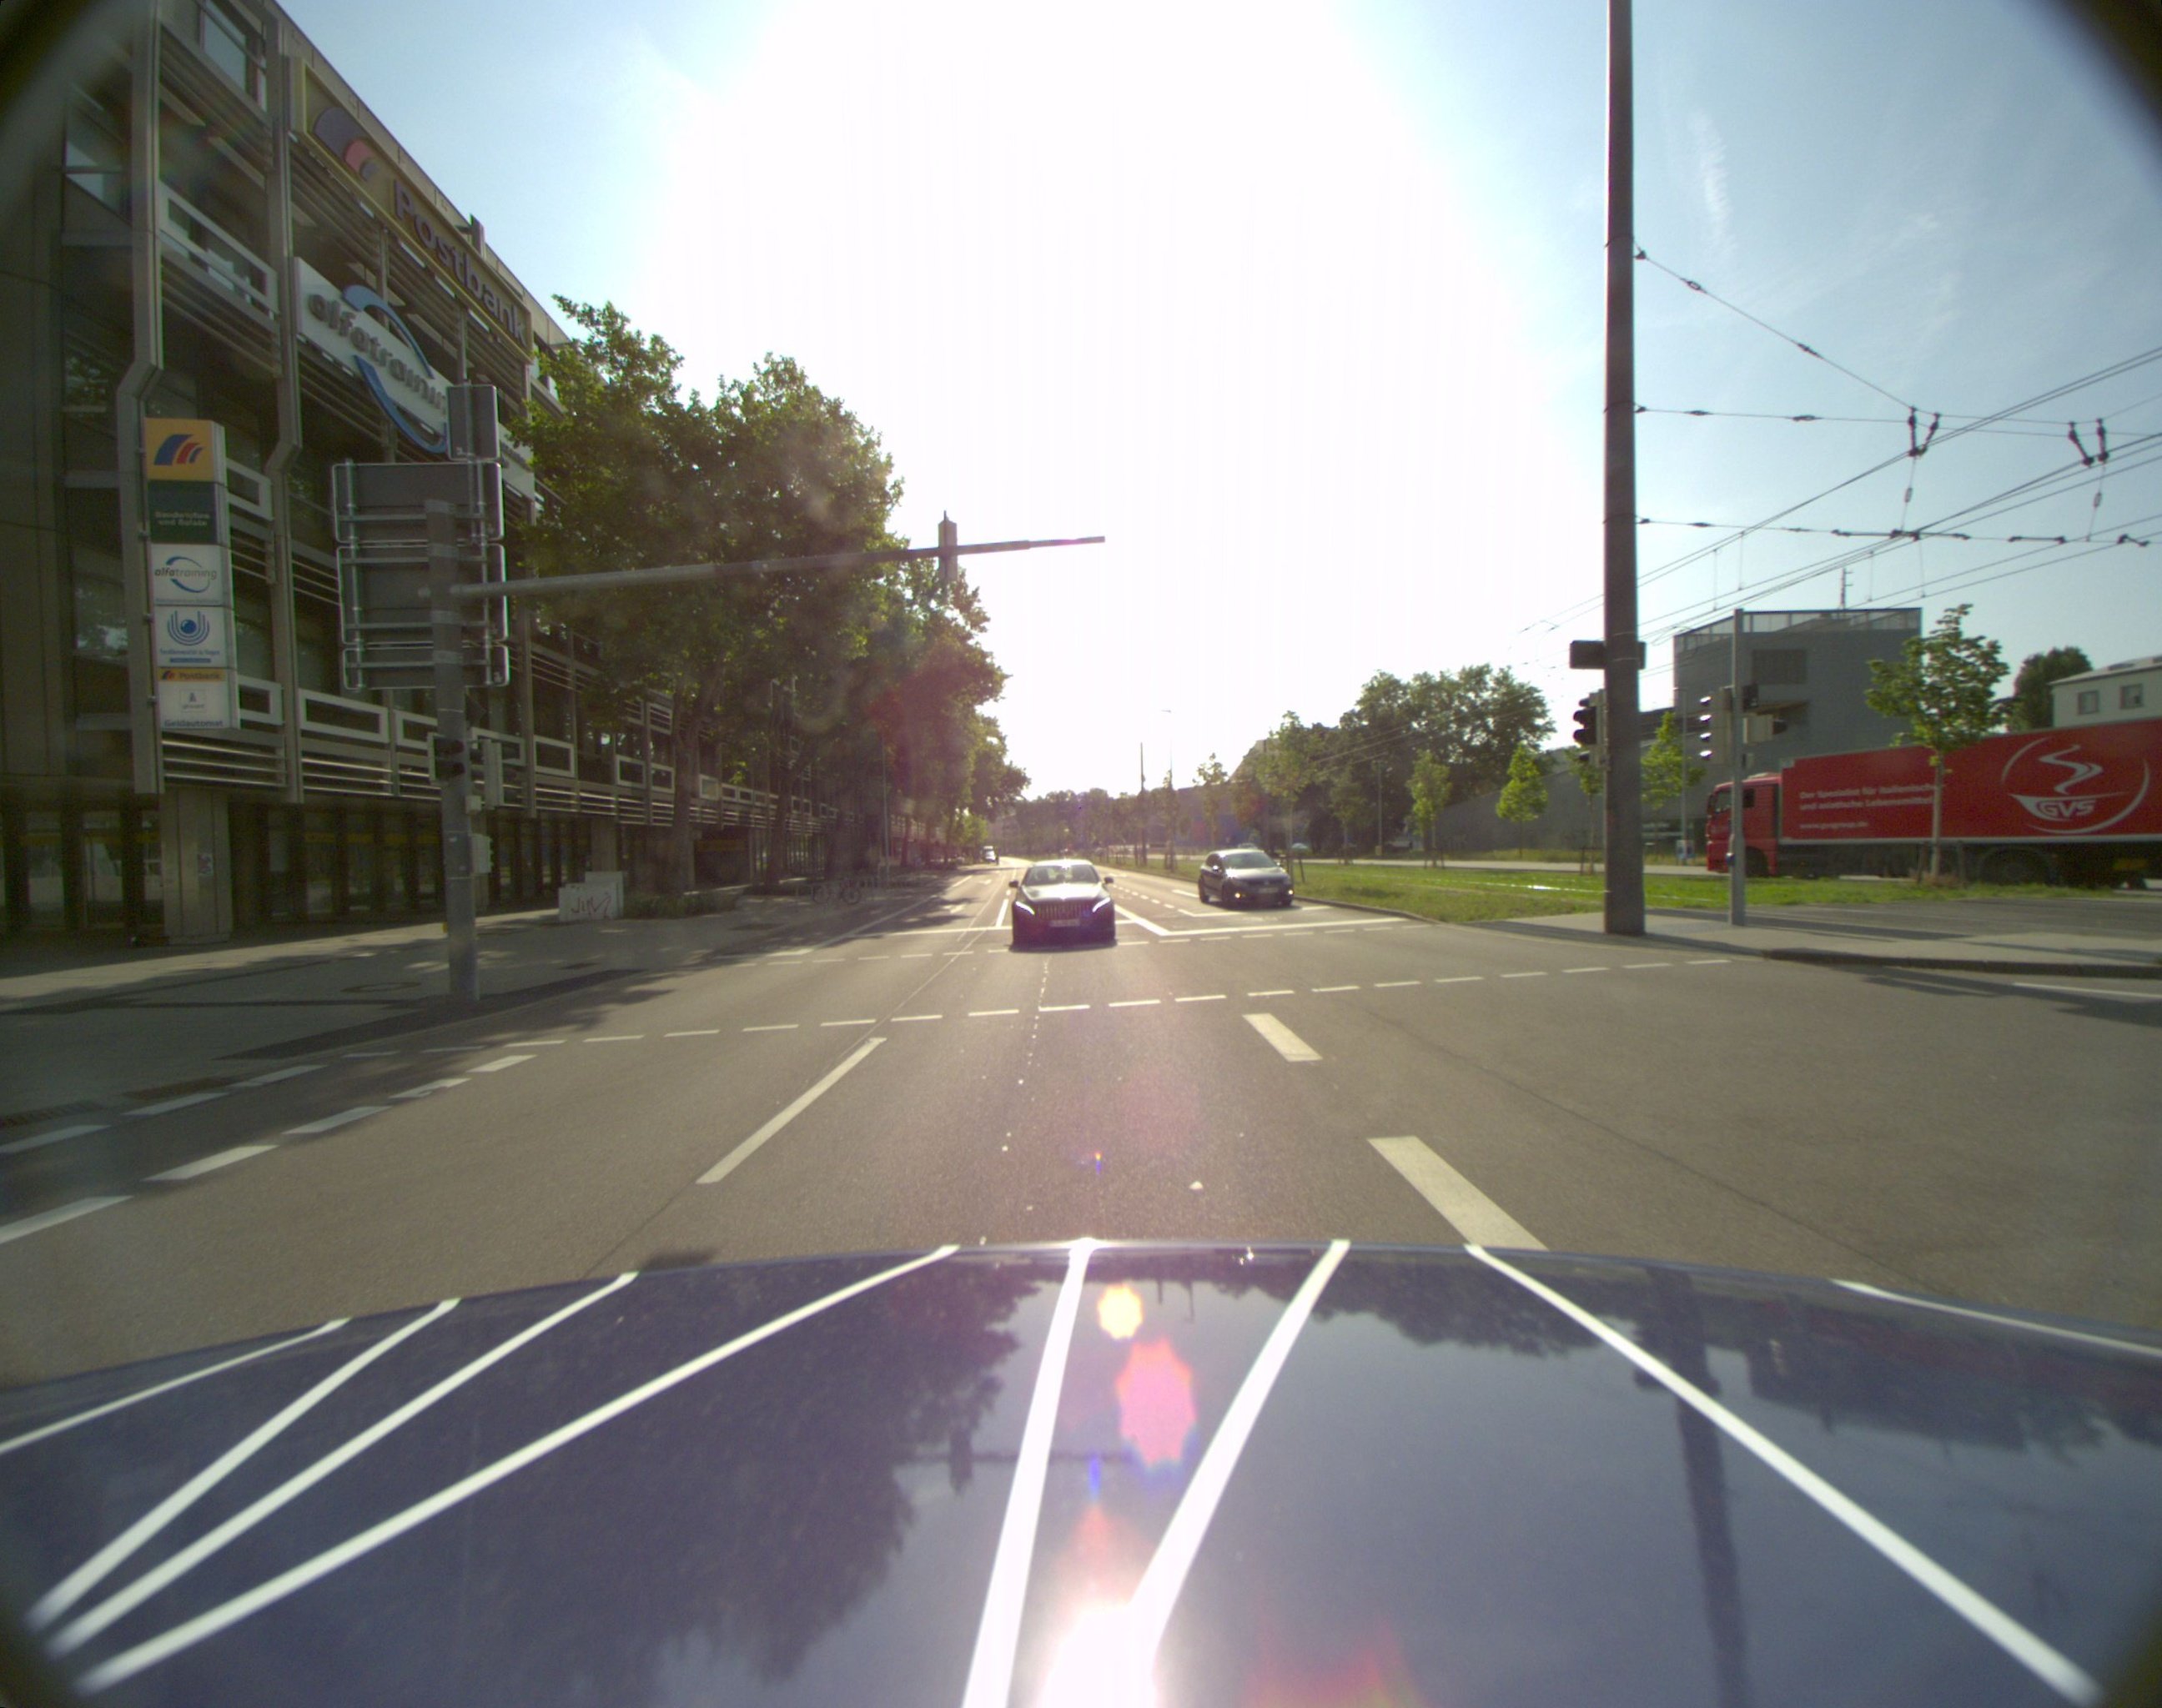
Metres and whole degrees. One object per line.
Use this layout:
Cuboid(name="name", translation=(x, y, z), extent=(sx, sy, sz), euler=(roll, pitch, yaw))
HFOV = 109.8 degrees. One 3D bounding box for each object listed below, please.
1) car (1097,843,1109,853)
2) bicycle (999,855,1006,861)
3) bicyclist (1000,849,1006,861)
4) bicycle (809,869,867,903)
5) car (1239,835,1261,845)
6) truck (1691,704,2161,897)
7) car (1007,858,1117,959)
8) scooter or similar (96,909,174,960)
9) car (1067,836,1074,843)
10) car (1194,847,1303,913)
Cuboid(name="car", translation=(4.656, -1.278, 160.435), extent=(1.999, 2.002, 3.997), euler=(-3, 2, -5))
Cuboid(name="bicycle", translation=(-10.056, 0.526, 96.876), extent=(0.630, 0.702, 1.807), euler=(-2, 1, -14))
Cuboid(name="bicyclist", translation=(-10.002, 0.107, 96.852), extent=(0.612, 1.505, 0.813), euler=(-2, 2, -14))
Cuboid(name="bicycle", translation=(-8.617, 1.136, 26.970), extent=(1.832, 1.181, 0.537), euler=(-1, 2, 1))
Cuboid(name="car", translation=(30.444, -2.469, 136.786), extent=(2.020, 1.758, 4.817), euler=(-2, 1, -12))
Cuboid(name="truck", translation=(22.110, -1.157, 19.911), extent=(2.981, 3.787, 10.414), euler=(-2, 1, -7))
Cuboid(name="car", translation=(-0.399, 0.888, 14.747), extent=(1.717, 1.429, 5.055), euler=(-2, 1, -2))
Cuboid(name="scooter or similar", translation=(-17.962, 1.515, 14.450), extent=(0.279, 0.838, 0.958), euler=(-2, 1, -4))
Cuboid(name="car", translation=(-3.012, -4.166, 225.272), extent=(1.757, 1.968, 3.769), euler=(-2, 1, -4))
Cuboid(name="car", translation=(4.246, 0.596, 19.848), extent=(1.709, 1.424, 3.867), euler=(-4, 1, -4))
